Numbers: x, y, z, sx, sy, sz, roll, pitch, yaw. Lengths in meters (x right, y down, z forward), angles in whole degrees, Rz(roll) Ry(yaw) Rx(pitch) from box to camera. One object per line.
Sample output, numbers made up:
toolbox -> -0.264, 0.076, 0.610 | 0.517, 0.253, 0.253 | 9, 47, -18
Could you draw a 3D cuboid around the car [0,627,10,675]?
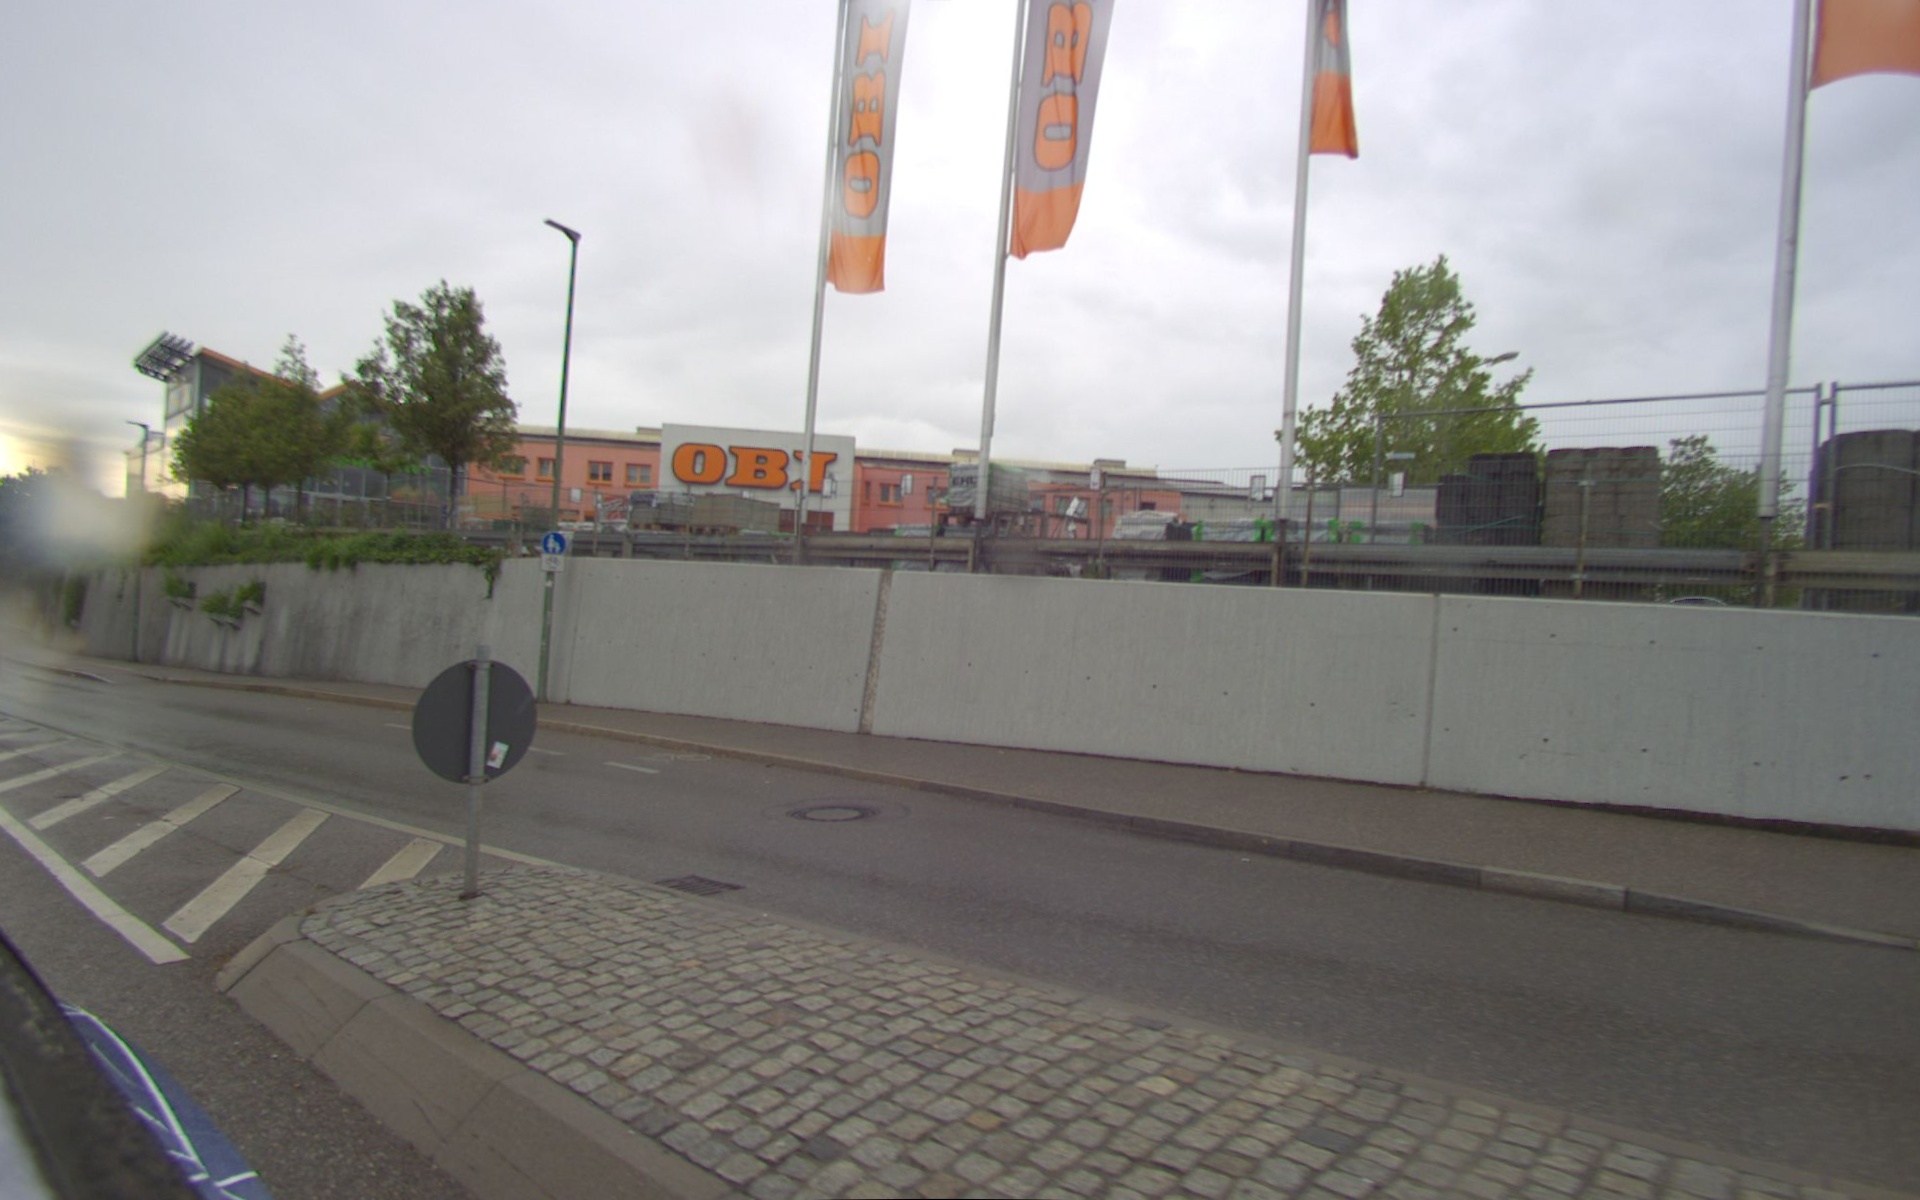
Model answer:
car -> -31.397, 1.544, 31.567 | 4.777, 1.437, 1.981 | 0, -1, 40
